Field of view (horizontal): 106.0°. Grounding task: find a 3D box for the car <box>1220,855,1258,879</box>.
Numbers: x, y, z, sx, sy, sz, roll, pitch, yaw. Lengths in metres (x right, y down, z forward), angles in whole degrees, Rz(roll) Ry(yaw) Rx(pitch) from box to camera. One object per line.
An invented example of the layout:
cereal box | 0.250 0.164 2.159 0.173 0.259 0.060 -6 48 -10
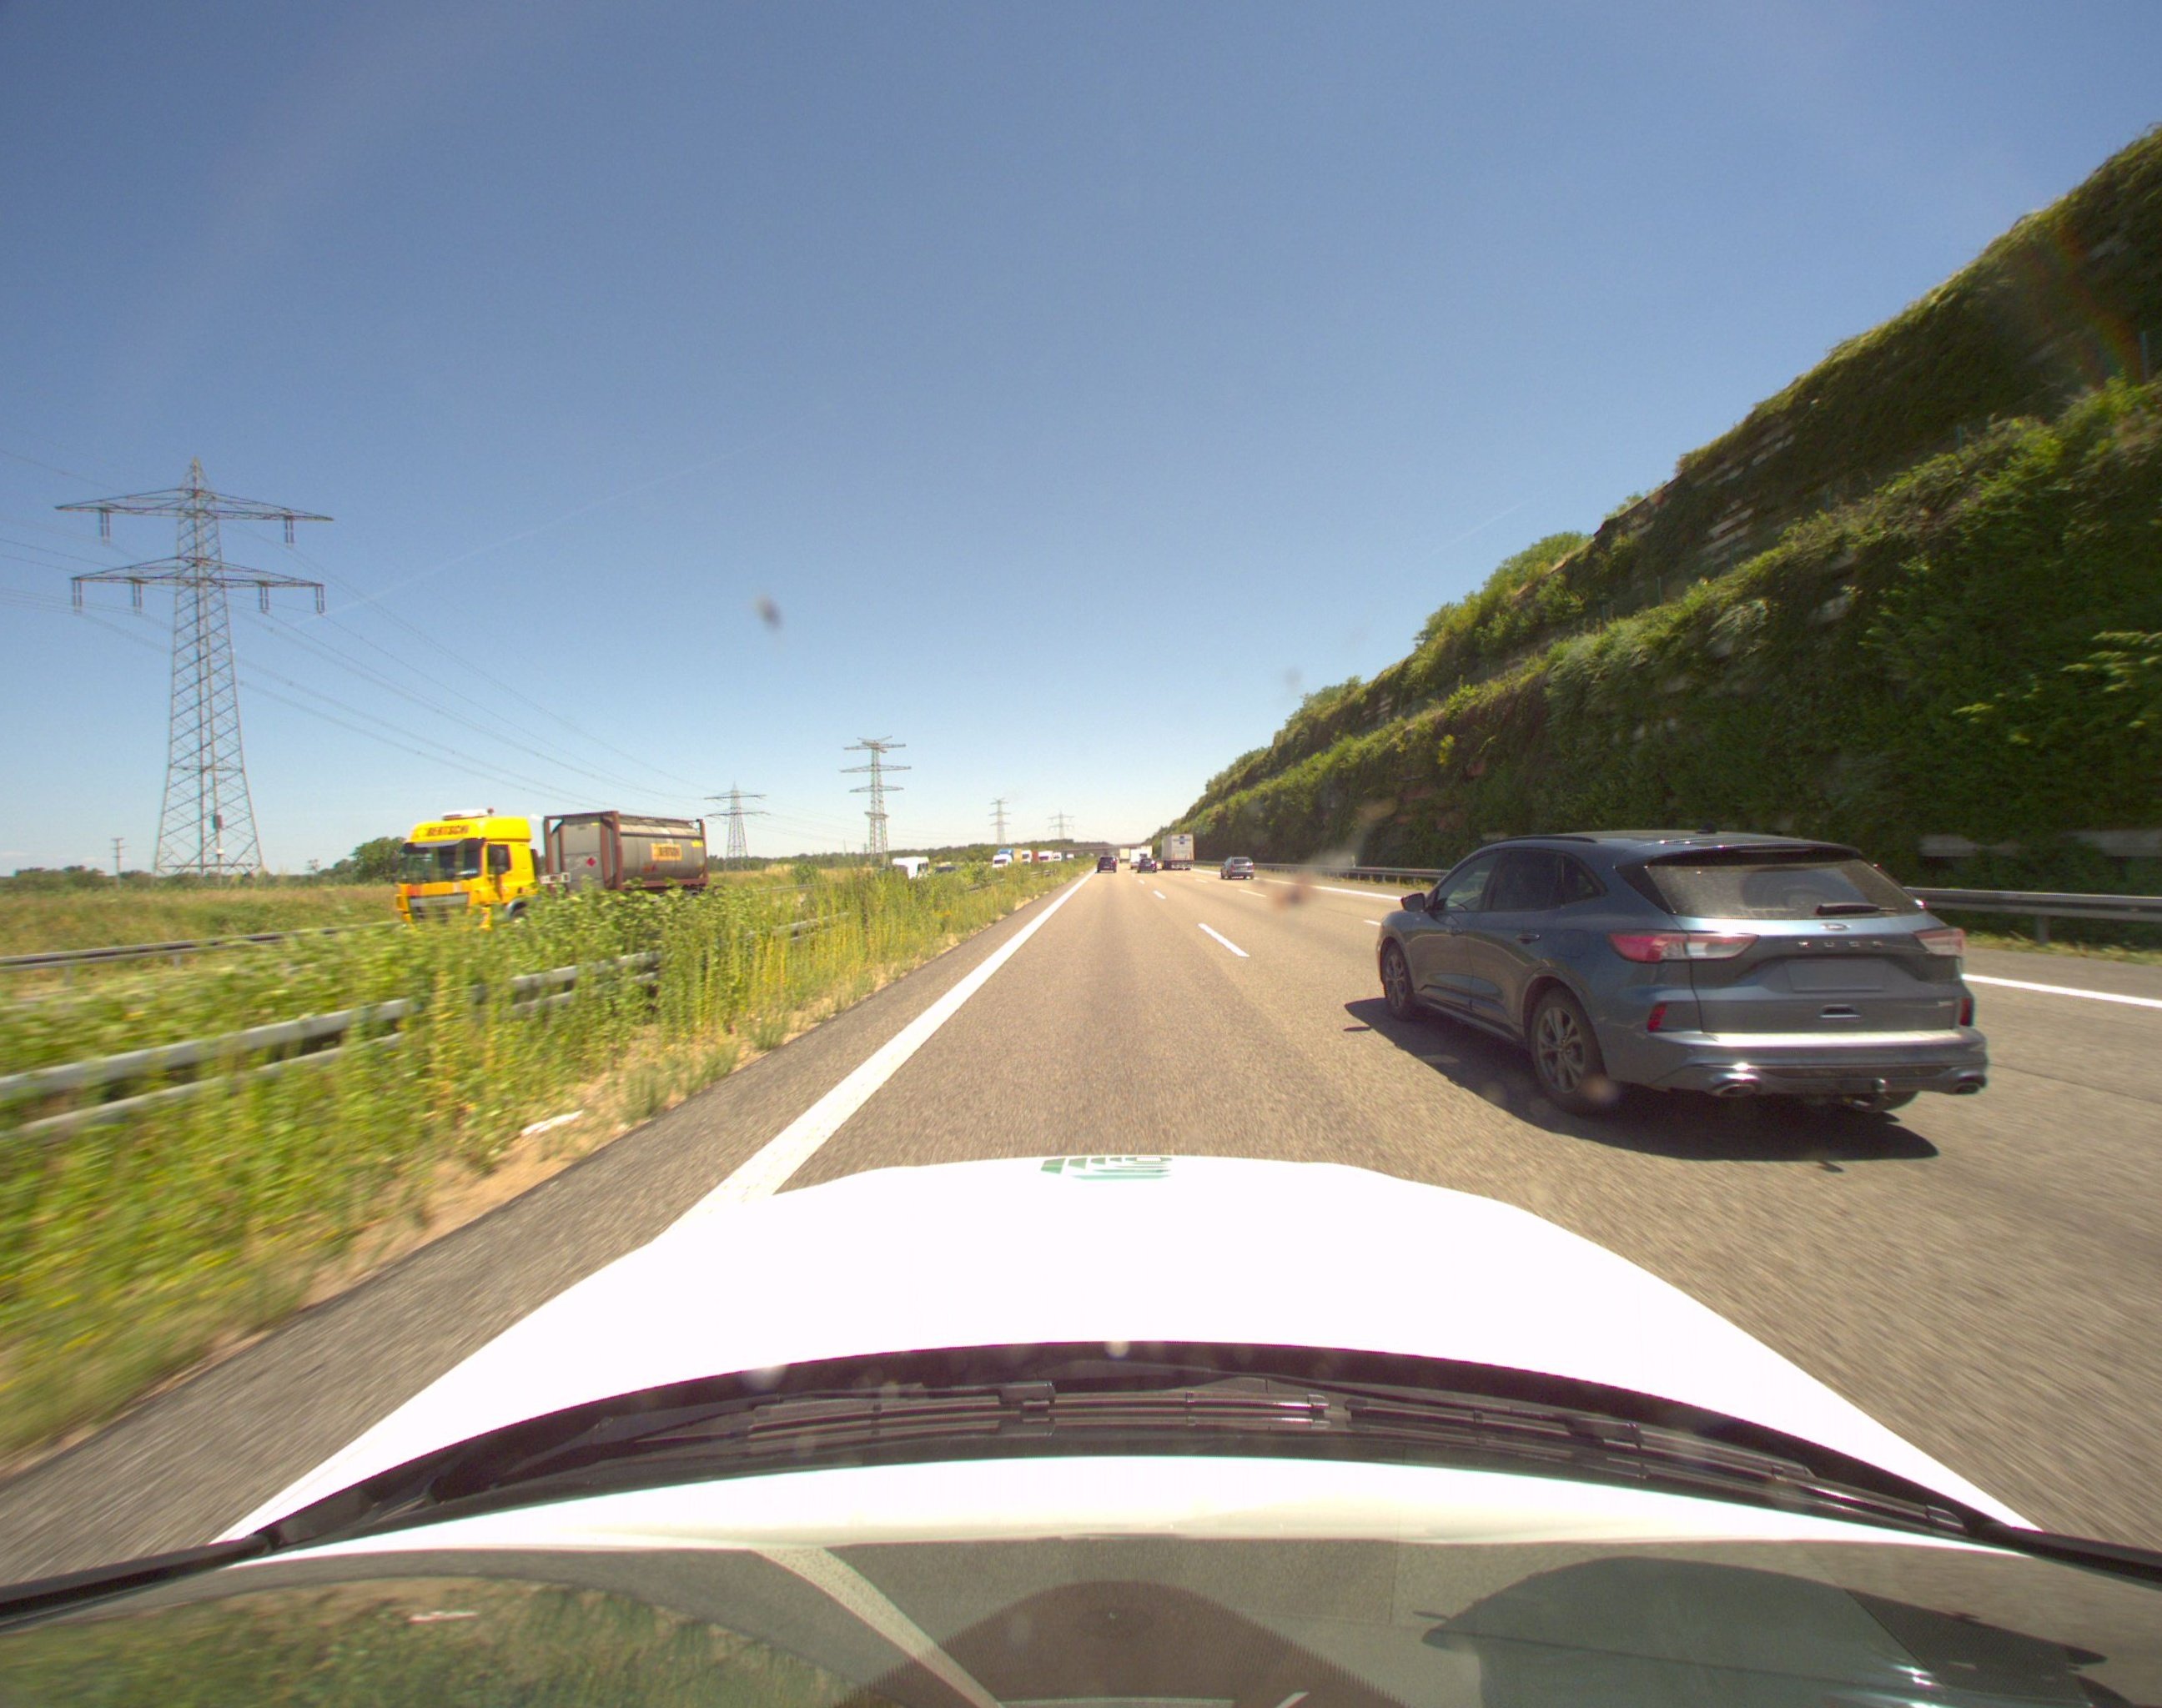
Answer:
car | 10.238 0.814 53.146 1.678 1.428 4.454 -1 0 1

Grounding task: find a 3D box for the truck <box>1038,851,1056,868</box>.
truck | -7.106 1.119 170.963 2.926 3.413 9.368 -2 0 1

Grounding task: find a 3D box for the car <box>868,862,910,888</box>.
car | -15.280 1.641 64.975 2.039 1.854 4.871 -3 0 1

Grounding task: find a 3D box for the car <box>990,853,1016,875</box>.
car | -9.866 1.266 103.847 2.097 2.631 7.471 -4 0 2

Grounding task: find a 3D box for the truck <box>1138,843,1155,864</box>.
truck | 14.140 -0.088 176.697 3.107 4.280 11.939 -2 0 2

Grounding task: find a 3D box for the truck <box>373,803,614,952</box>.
truck | -16.763 0.624 23.811 2.715 3.727 5.647 -3 0 1

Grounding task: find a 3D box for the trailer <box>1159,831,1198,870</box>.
trailer | 11.290 -0.318 95.747 3.171 4.121 13.436 -2 0 2

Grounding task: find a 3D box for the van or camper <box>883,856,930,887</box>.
van or camper | -15.201 1.502 71.534 2.434 2.518 6.486 -3 0 2

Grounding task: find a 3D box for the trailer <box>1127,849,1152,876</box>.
trailer | 7.624 1.077 107.384 2.601 3.213 9.955 -2 0 1

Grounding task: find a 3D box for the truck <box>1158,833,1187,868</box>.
truck | 11.523 -0.388 102.821 3.124 4.142 5.506 -2 0 2

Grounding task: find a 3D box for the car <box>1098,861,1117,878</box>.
car | 2.739 1.571 84.294 1.823 1.670 4.001 -2 0 1

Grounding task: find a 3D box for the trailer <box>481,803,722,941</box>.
trailer | -16.582 0.557 29.332 2.726 4.045 9.427 -3 0 2

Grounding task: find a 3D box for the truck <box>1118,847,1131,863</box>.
truck | 11.992 0.253 226.616 3.396 4.280 10.612 -2 0 2

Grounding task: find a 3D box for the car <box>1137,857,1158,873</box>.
car | 6.490 1.062 80.202 1.822 1.525 4.002 -2 0 2

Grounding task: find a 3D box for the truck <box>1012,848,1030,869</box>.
truck | -12.462 0.974 170.644 3.204 4.158 6.436 -2 0 -1

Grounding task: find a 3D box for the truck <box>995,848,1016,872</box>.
truck | -12.831 0.967 138.821 2.852 3.907 5.623 -3 0 2

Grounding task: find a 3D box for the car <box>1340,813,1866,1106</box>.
car | 3.675 0.621 6.784 1.787 1.653 4.139 -2 0 2
